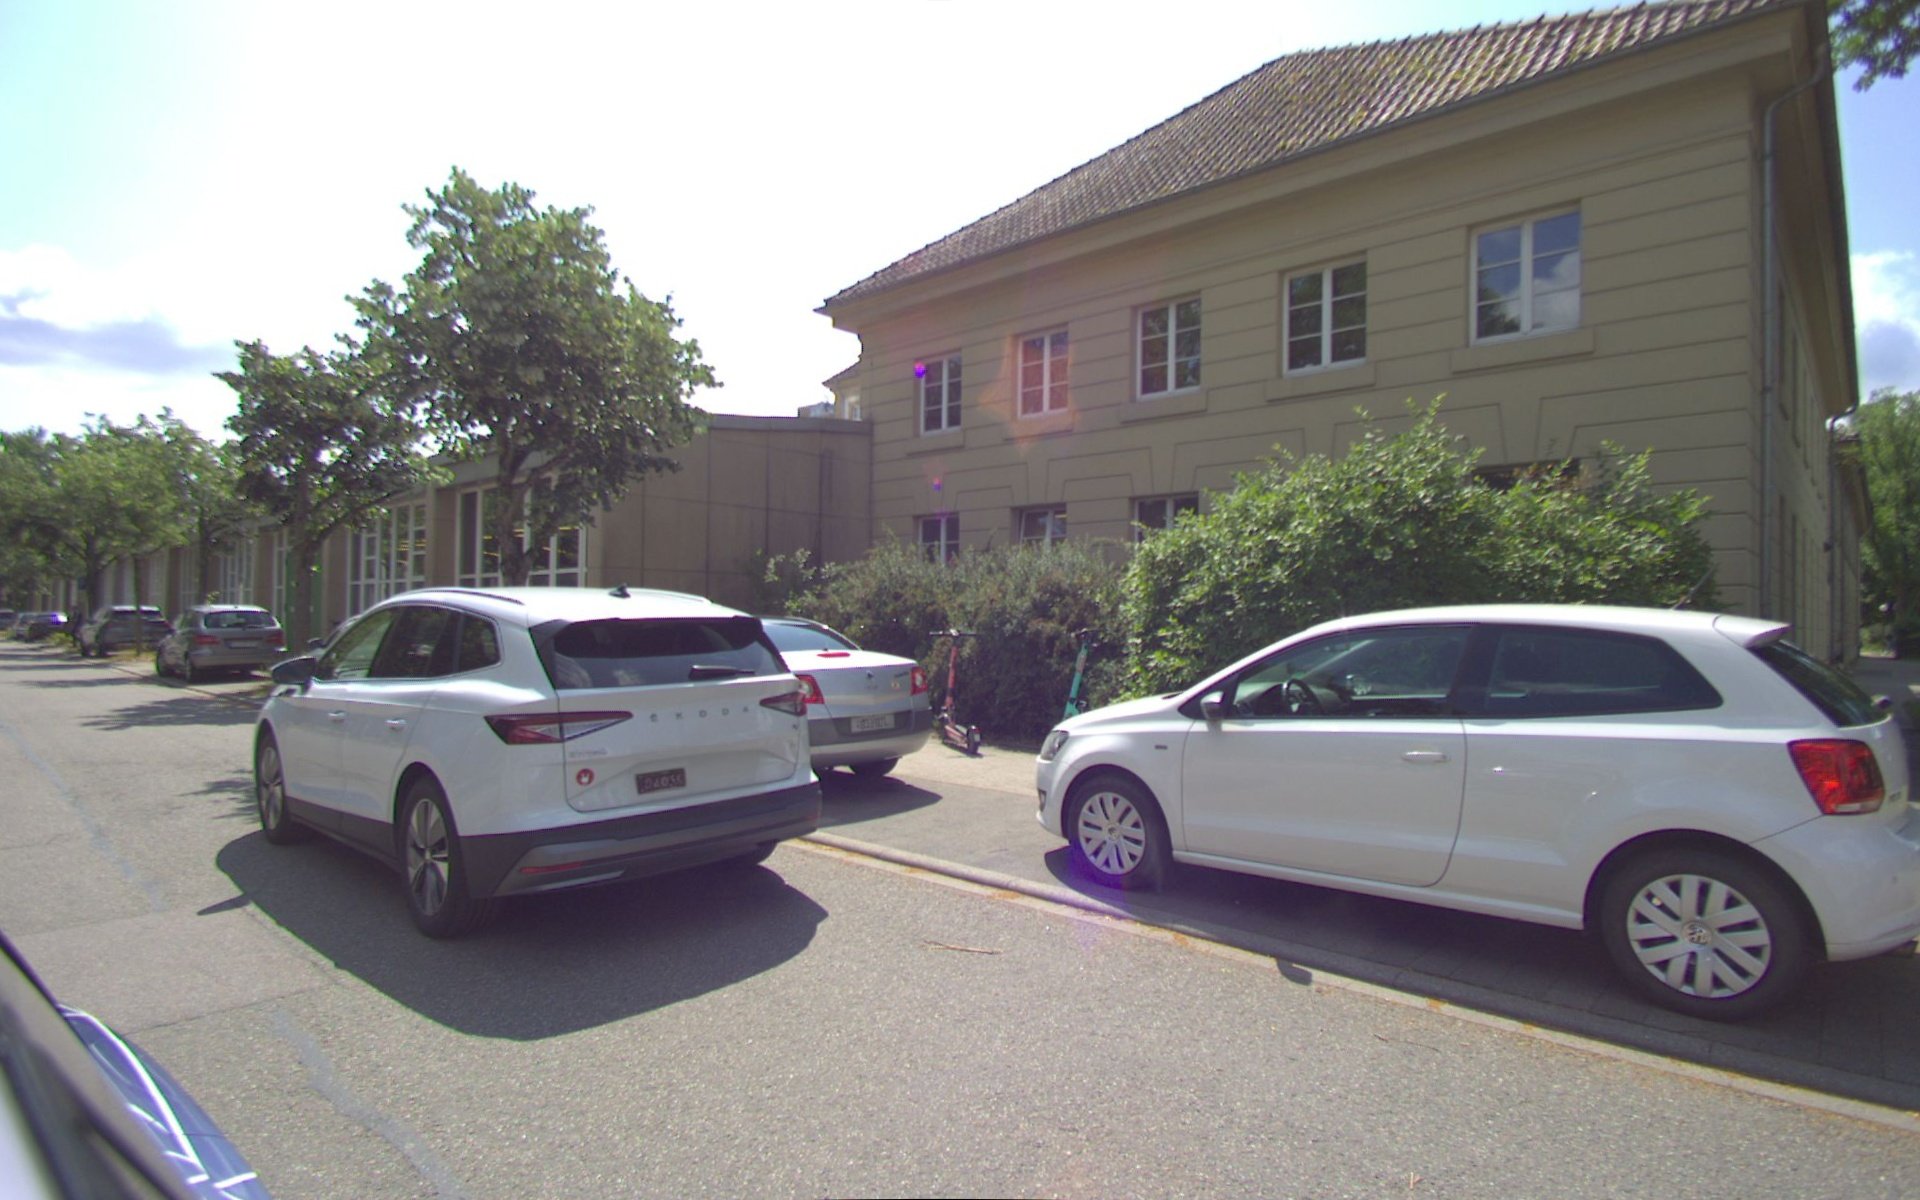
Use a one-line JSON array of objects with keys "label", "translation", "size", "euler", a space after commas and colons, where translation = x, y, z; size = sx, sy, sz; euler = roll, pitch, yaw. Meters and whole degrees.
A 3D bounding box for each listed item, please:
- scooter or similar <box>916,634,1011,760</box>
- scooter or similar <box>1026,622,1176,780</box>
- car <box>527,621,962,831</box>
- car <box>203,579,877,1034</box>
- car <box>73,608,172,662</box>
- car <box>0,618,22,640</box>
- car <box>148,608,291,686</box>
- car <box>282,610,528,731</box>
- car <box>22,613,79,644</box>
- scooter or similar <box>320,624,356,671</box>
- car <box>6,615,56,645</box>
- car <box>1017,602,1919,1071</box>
[{"label": "scooter or similar", "translation": [0.016, 0.951, 10.357], "size": [0.463, 1.180, 1.231], "euler": [1, -1, -27]}, {"label": "scooter or similar", "translation": [1.243, 0.871, 9.006], "size": [1.229, 1.298, 0.518], "euler": [-2, -6, 44]}, {"label": "car", "translation": [-2.059, 0.878, 8.810], "size": [4.167, 1.354, 1.705], "euler": [-1, 0, 45]}, {"label": "car", "translation": [-2.718, 0.726, 5.897], "size": [4.520, 1.631, 1.897], "euler": [0, 2, 43]}, {"label": "car", "translation": [-27.635, 1.111, 33.346], "size": [4.515, 1.645, 1.803], "euler": [-1, 0, 41]}, {"label": "car", "translation": [-65.049, 1.978, 68.673], "size": [3.676, 1.460, 1.779], "euler": [-1, 0, 43]}, {"label": "car", "translation": [-16.521, 0.974, 22.509], "size": [4.112, 1.568, 1.739], "euler": [-1, 0, 42]}, {"label": "car", "translation": [-8.197, 0.902, 14.741], "size": [4.582, 1.467, 1.707], "euler": [-1, 0, 42]}, {"label": "car", "translation": [-44.644, 1.407, 49.656], "size": [4.289, 1.446, 1.706], "euler": [-2, -1, 43]}, {"label": "scooter or similar", "translation": [-16.140, 1.221, 26.252], "size": [1.215, 1.178, 0.500], "euler": [-1, -1, 44]}, {"label": "car", "translation": [-48.994, 1.563, 53.364], "size": [3.752, 1.460, 1.612], "euler": [-1, 0, 43]}, {"label": "car", "translation": [2.257, 0.745, 4.823], "size": [3.807, 1.422, 1.644], "euler": [-1, -1, 43]}]
